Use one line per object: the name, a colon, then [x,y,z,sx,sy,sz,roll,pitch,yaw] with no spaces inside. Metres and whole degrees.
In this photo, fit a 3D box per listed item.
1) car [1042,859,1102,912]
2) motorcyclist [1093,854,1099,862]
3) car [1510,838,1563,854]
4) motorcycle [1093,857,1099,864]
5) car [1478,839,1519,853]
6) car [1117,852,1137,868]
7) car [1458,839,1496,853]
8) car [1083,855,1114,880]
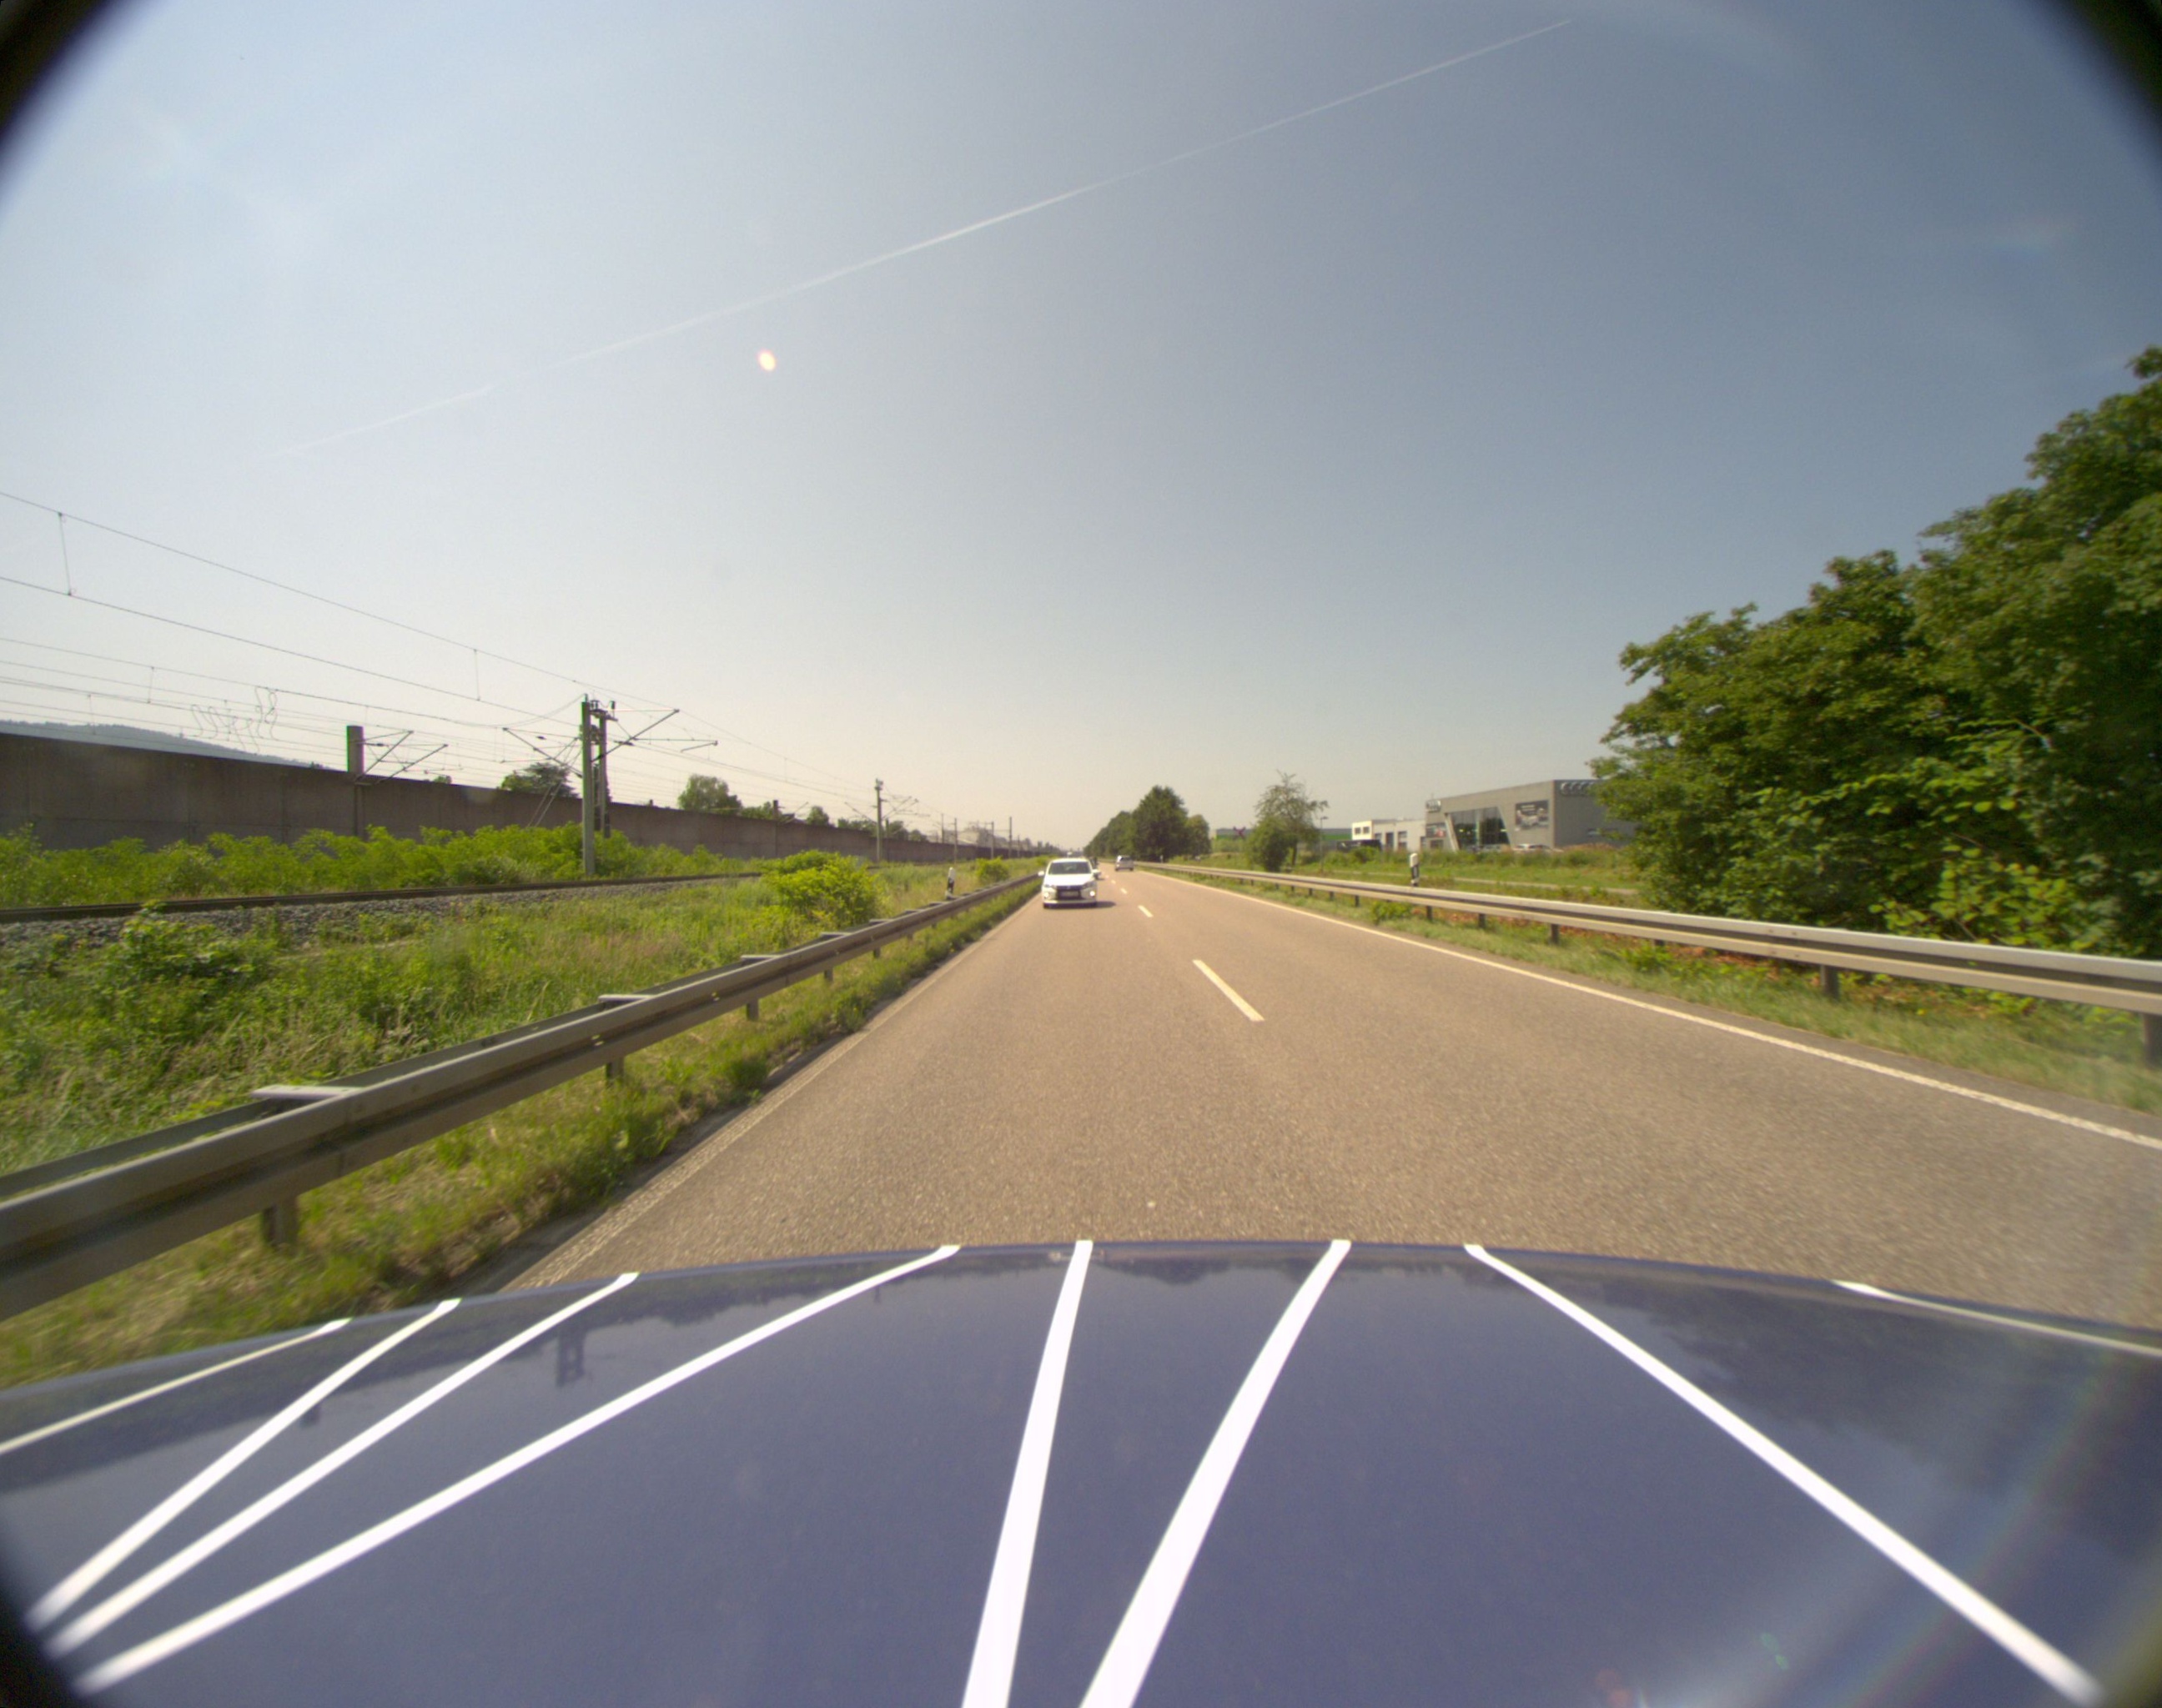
car: [-0.303,0.917,24.090,1.701,1.470,4.154,-1,0,-1]
motorcyclist: [2.357,0.653,121.010,0.996,1.302,0.935,-2,1,0]
car: [43.413,-0.730,72.428,4.239,1.428,1.623,1,0,-6]
motorcycle: [2.386,1.006,120.825,0.930,1.022,2.268,-2,0,1]
car: [43.247,-0.787,78.861,1.751,1.428,4.665,1,0,1]
car: [4.512,0.586,75.129,1.702,1.466,4.686,-2,0,1]
car: [43.640,-0.882,83.913,1.751,1.528,4.665,1,0,0]
car: [1.076,0.839,47.974,1.711,1.470,4.154,-1,0,-1]
